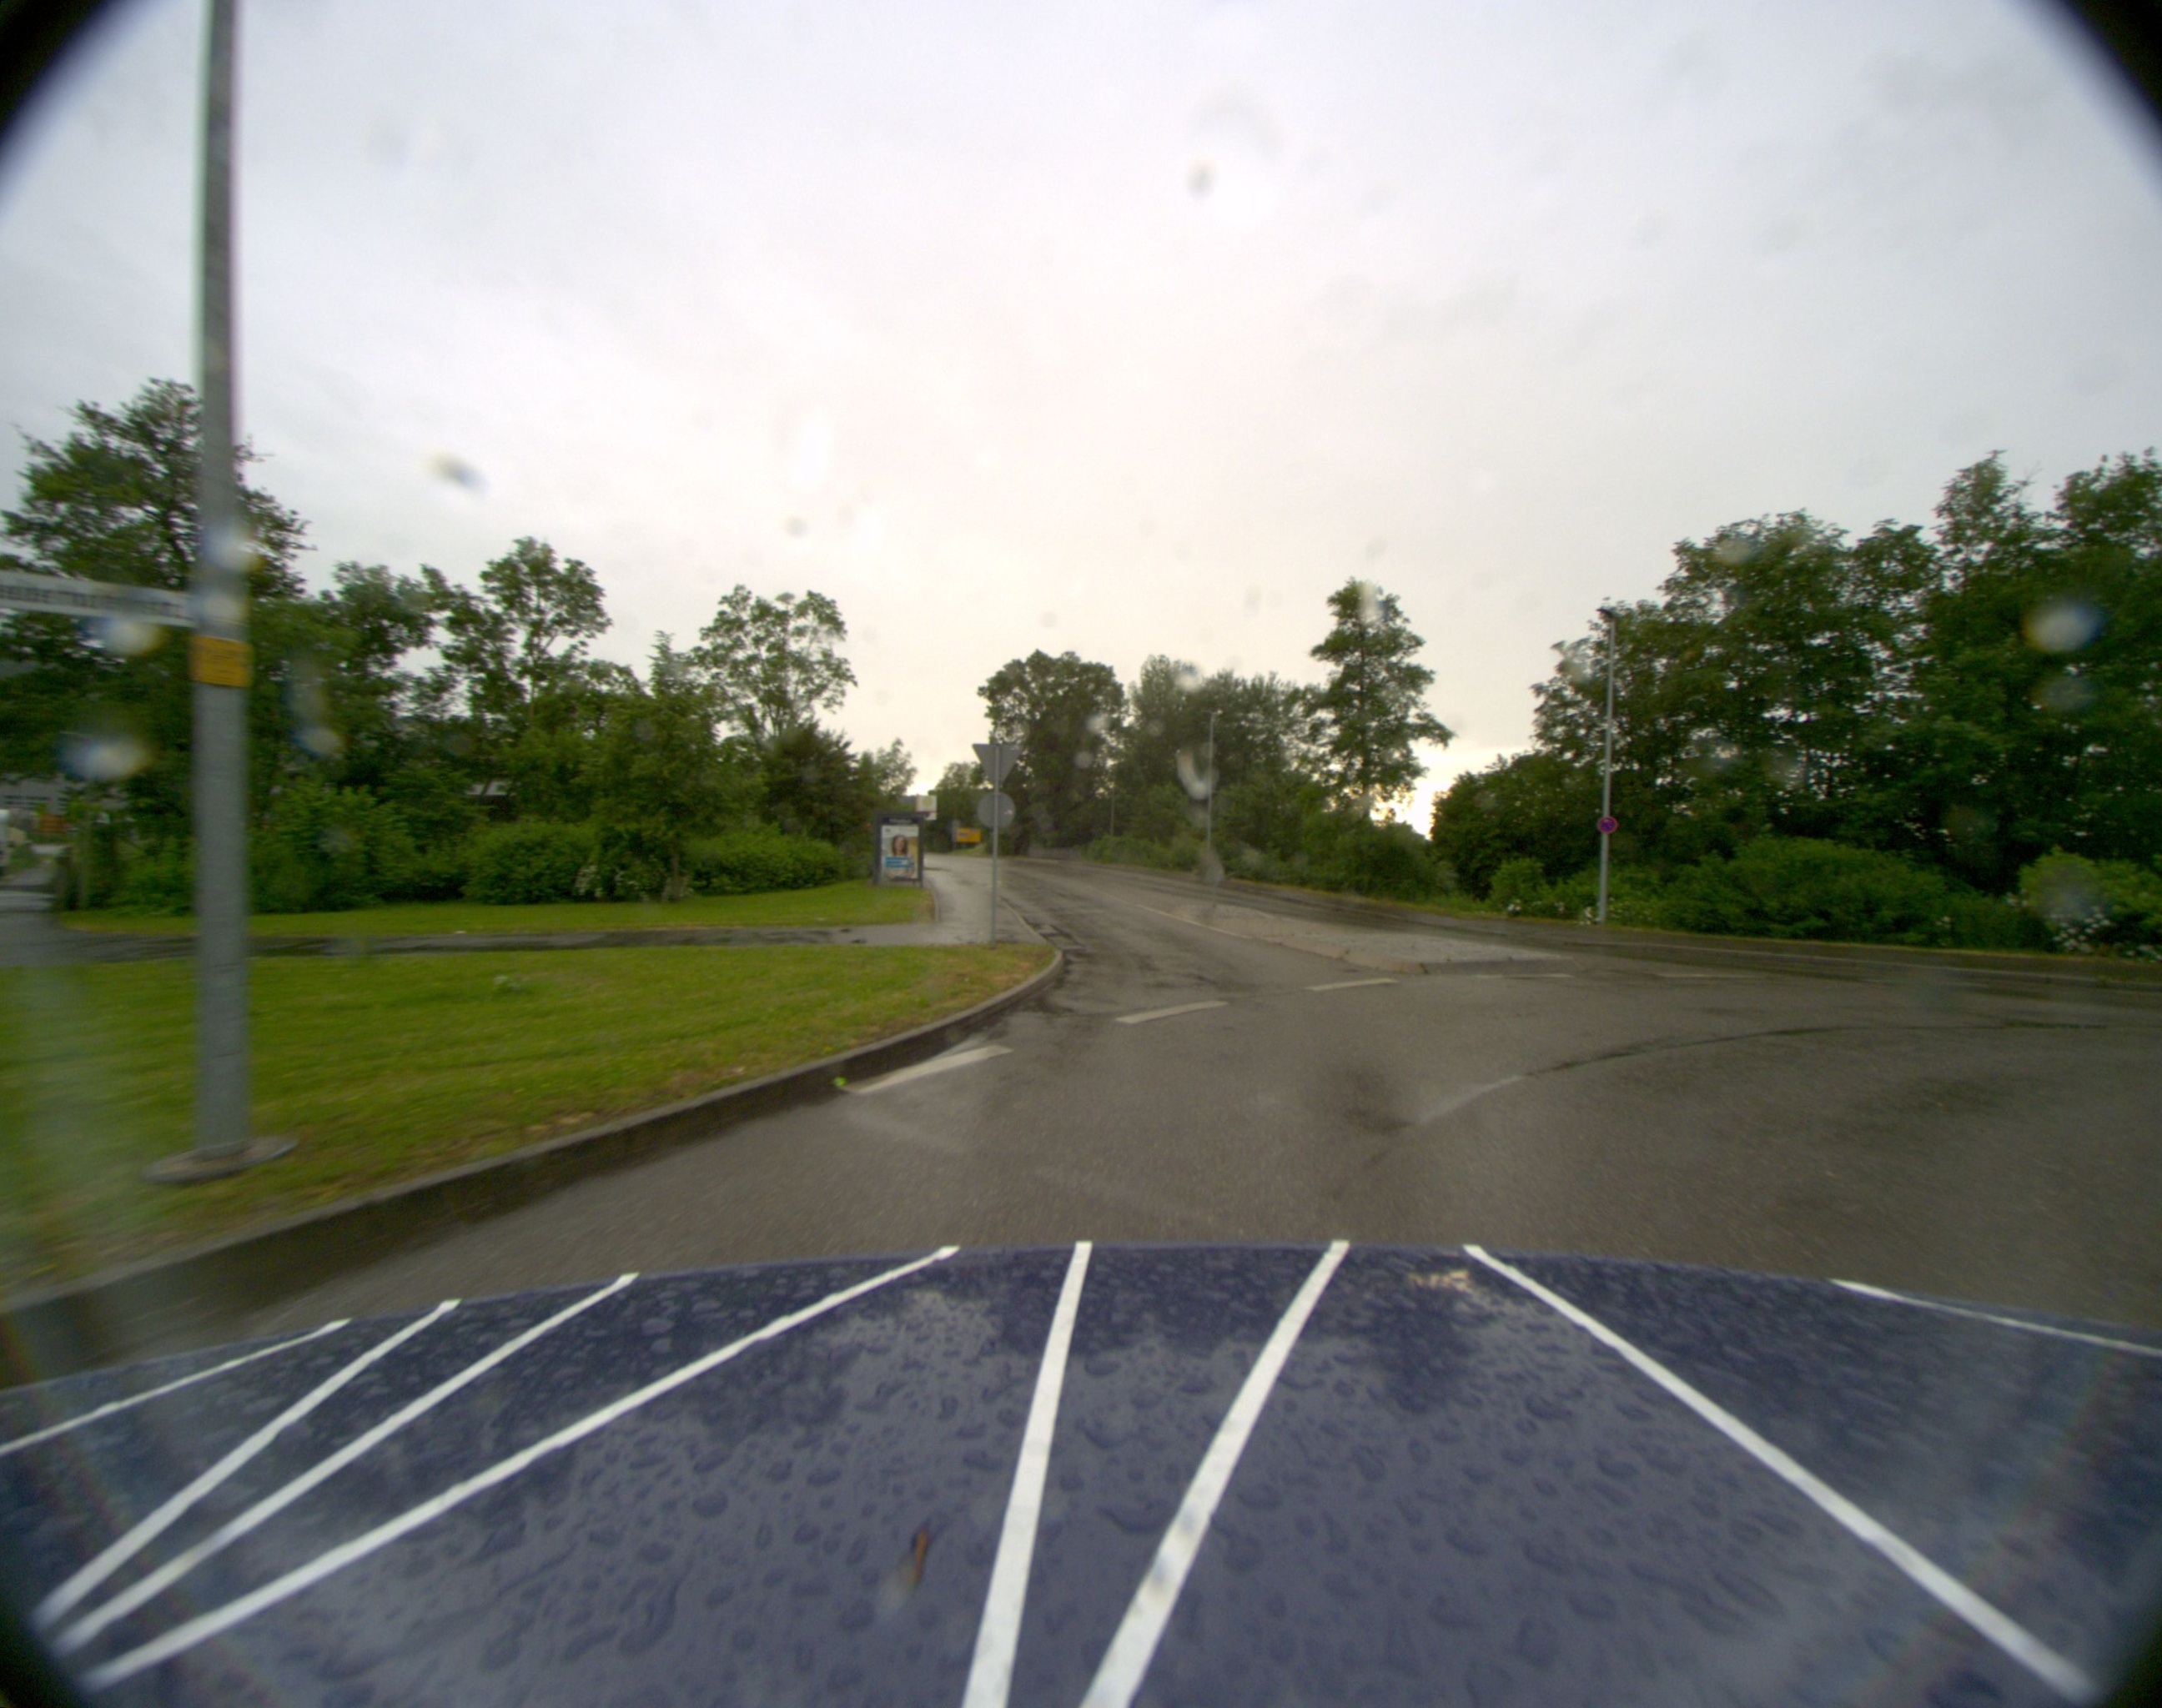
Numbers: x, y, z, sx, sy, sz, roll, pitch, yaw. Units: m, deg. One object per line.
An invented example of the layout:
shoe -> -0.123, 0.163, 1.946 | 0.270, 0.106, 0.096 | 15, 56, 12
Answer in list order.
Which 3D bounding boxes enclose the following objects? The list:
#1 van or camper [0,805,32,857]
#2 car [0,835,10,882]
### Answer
van or camper -> -49.262, -1.108, 33.816 | 5.957, 2.231, 2.549 | 2, 0, 40
car -> -41.370, 0.136, 28.059 | 3.988, 1.704, 2.004 | 2, 1, 34
